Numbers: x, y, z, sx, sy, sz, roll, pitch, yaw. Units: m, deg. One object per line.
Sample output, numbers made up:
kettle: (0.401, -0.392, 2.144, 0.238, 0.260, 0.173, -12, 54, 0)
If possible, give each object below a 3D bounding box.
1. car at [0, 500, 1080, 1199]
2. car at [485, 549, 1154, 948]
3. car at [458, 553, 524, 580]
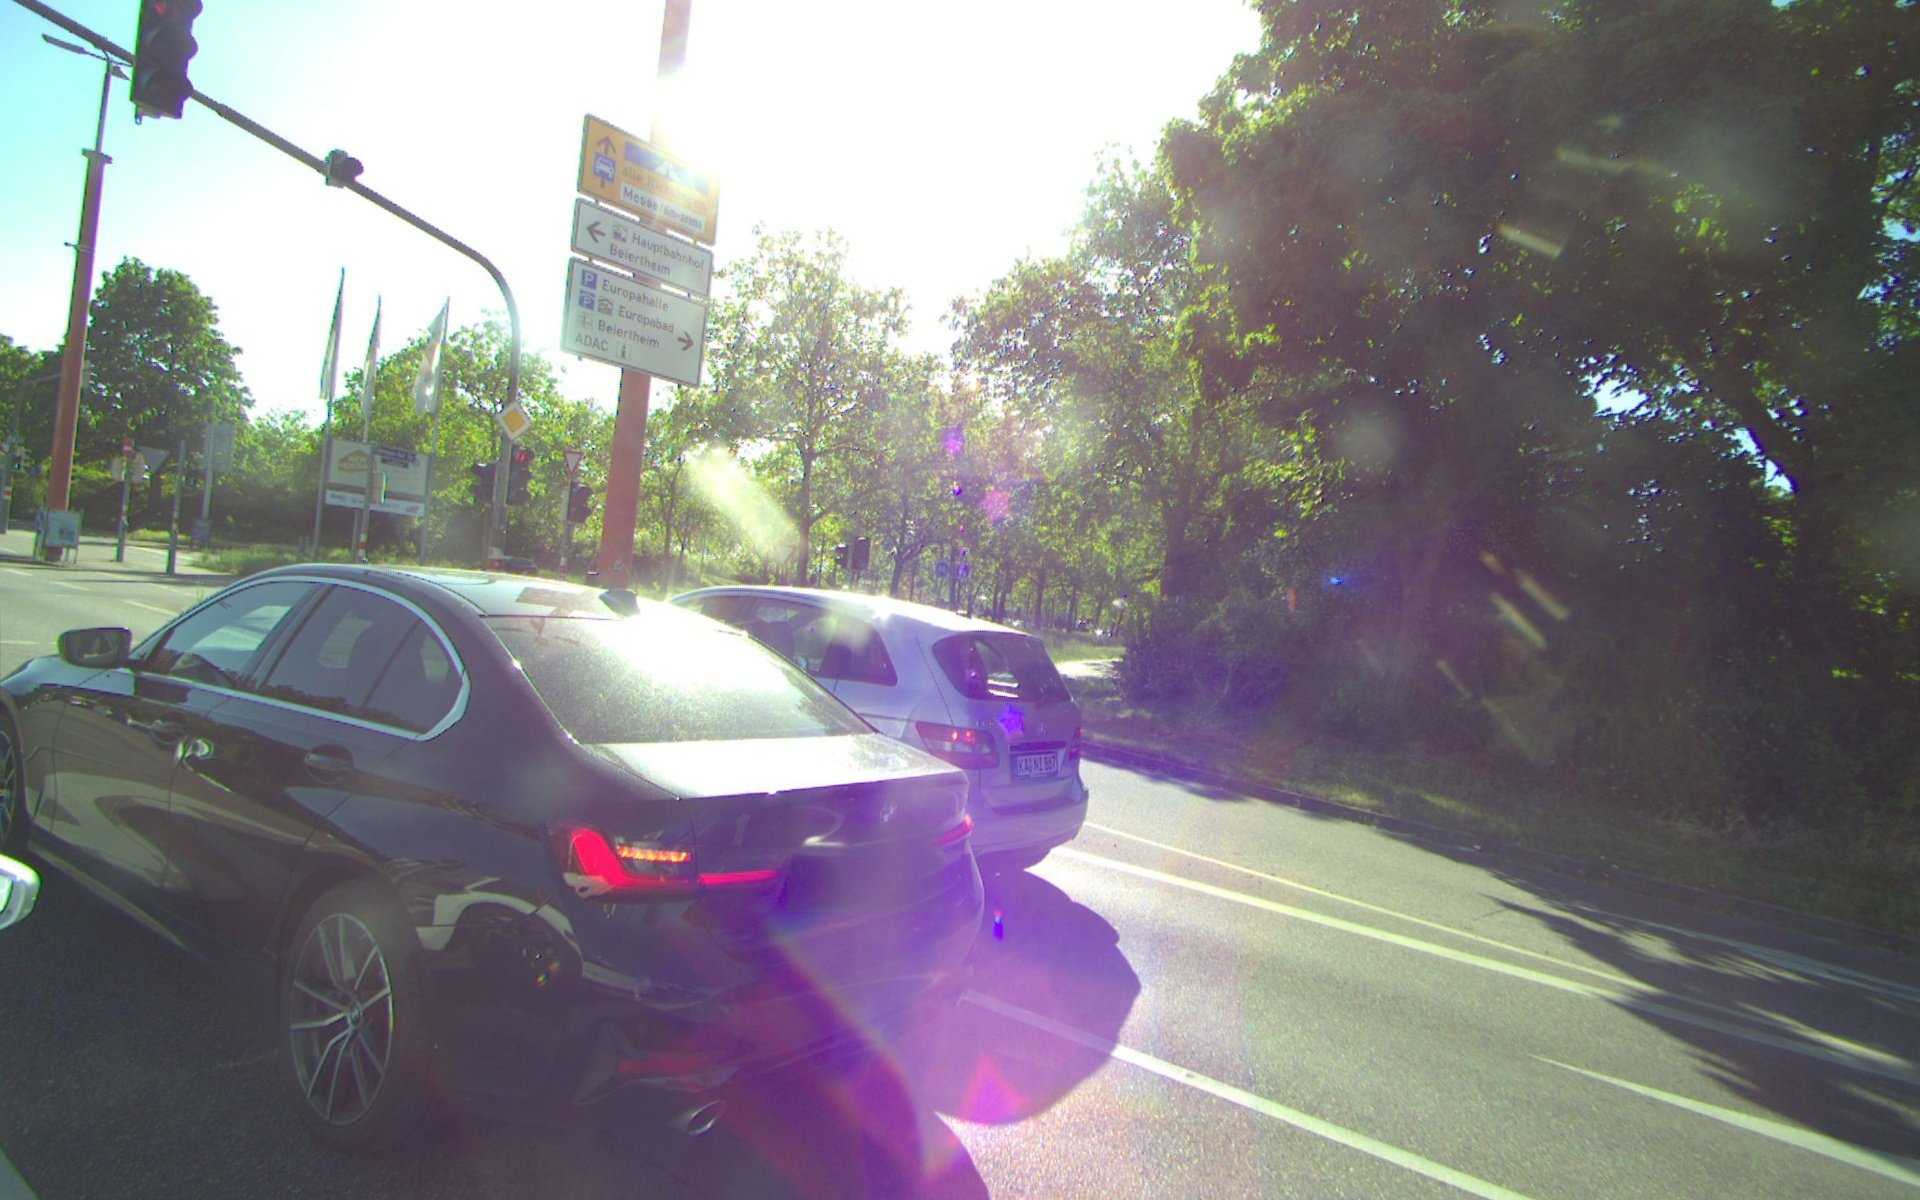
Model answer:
car: (-1.981, 0.545, 3.864, 4.372, 1.415, 1.871, 7, 0, 34)
car: (-1.017, 0.705, 6.489, 3.963, 1.597, 1.741, 7, 0, 33)
car: (-28.222, -1.992, 60.646, 1.590, 1.221, 3.452, 7, -1, 17)
